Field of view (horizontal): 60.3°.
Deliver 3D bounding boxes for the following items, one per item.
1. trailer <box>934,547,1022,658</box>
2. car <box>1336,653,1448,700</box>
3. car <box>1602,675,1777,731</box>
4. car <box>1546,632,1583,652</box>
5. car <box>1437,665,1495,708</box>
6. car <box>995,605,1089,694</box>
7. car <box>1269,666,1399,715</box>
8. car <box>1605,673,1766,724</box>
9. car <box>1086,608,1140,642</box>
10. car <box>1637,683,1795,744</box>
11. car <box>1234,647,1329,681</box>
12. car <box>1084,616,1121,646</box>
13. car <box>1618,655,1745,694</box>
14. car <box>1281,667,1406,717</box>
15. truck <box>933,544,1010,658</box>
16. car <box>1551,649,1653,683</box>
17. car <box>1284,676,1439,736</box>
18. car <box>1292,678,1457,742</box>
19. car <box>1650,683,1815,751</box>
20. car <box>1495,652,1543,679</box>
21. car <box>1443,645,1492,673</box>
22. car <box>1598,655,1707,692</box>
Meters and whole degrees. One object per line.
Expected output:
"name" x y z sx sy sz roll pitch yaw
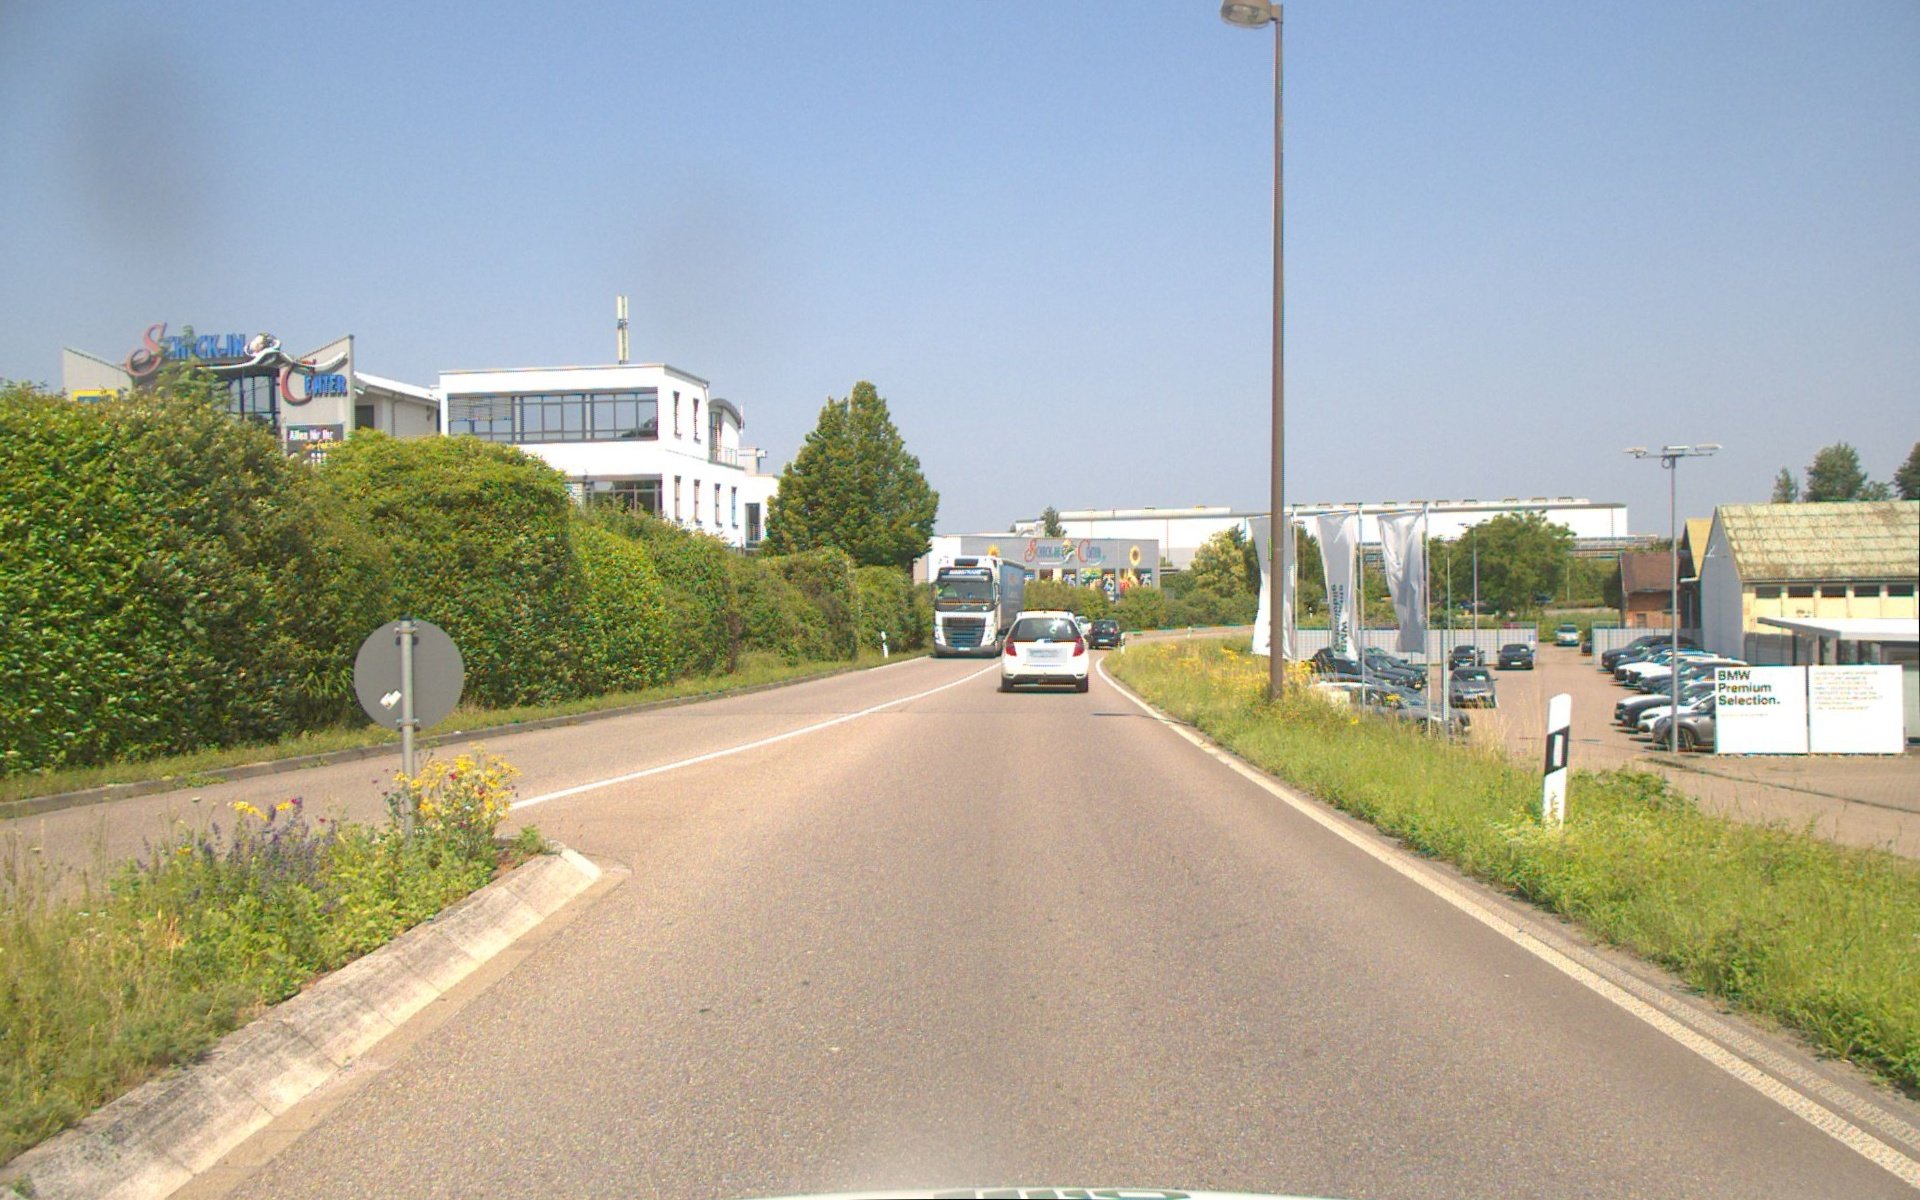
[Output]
"trailer" 0.966 0.220 72.196 2.613 4.316 14.573 1 -1 5
"car" 18.058 3.178 69.193 4.158 1.730 1.908 0 1 41
"car" 21.588 3.036 49.084 4.332 1.550 1.933 -1 -1 3
"car" 43.728 3.050 119.669 1.956 1.422 3.993 0 -1 29
"car" 19.566 3.309 64.011 2.090 1.483 4.534 0 -1 17
"car" 1.693 0.963 33.775 1.744 1.631 3.894 2 0 3
"car" 13.119 3.137 58.030 4.084 1.550 1.851 0 -1 33
"car" 23.059 3.134 52.727 4.331 1.550 1.934 -1 -1 9
"car" 9.456 1.567 102.039 1.955 2.049 3.995 0 -1 27
"car" 20.881 3.104 45.791 3.878 1.550 1.750 -1 -1 24
"car" 16.829 3.348 86.619 4.545 1.633 1.852 0 -1 32
"car" 7.534 1.641 87.263 1.790 1.496 4.413 0 -1 7
"car" 30.517 3.149 70.039 4.552 1.550 1.910 0 -1 -2
"car" 15.384 3.648 66.405 4.553 1.730 1.849 0 1 37
"truck" 0.534 0.109 66.703 2.460 4.332 6.116 -1 -1 6
"car" 31.242 3.209 80.522 4.242 1.549 1.908 0 0 -8
"car" 11.776 3.084 48.563 4.084 1.550 1.746 0 -1 33
"car" 11.343 2.979 45.383 4.090 1.550 1.683 0 -1 37
"car" 19.899 2.986 42.635 3.721 1.550 1.747 0 -1 31
"car" 31.597 3.695 93.441 1.956 1.422 3.993 0 -1 29
"car" 29.094 3.365 94.780 1.815 1.561 4.636 0 -1 29
"car" 31.668 3.332 75.682 4.242 1.549 1.908 0 0 -8
